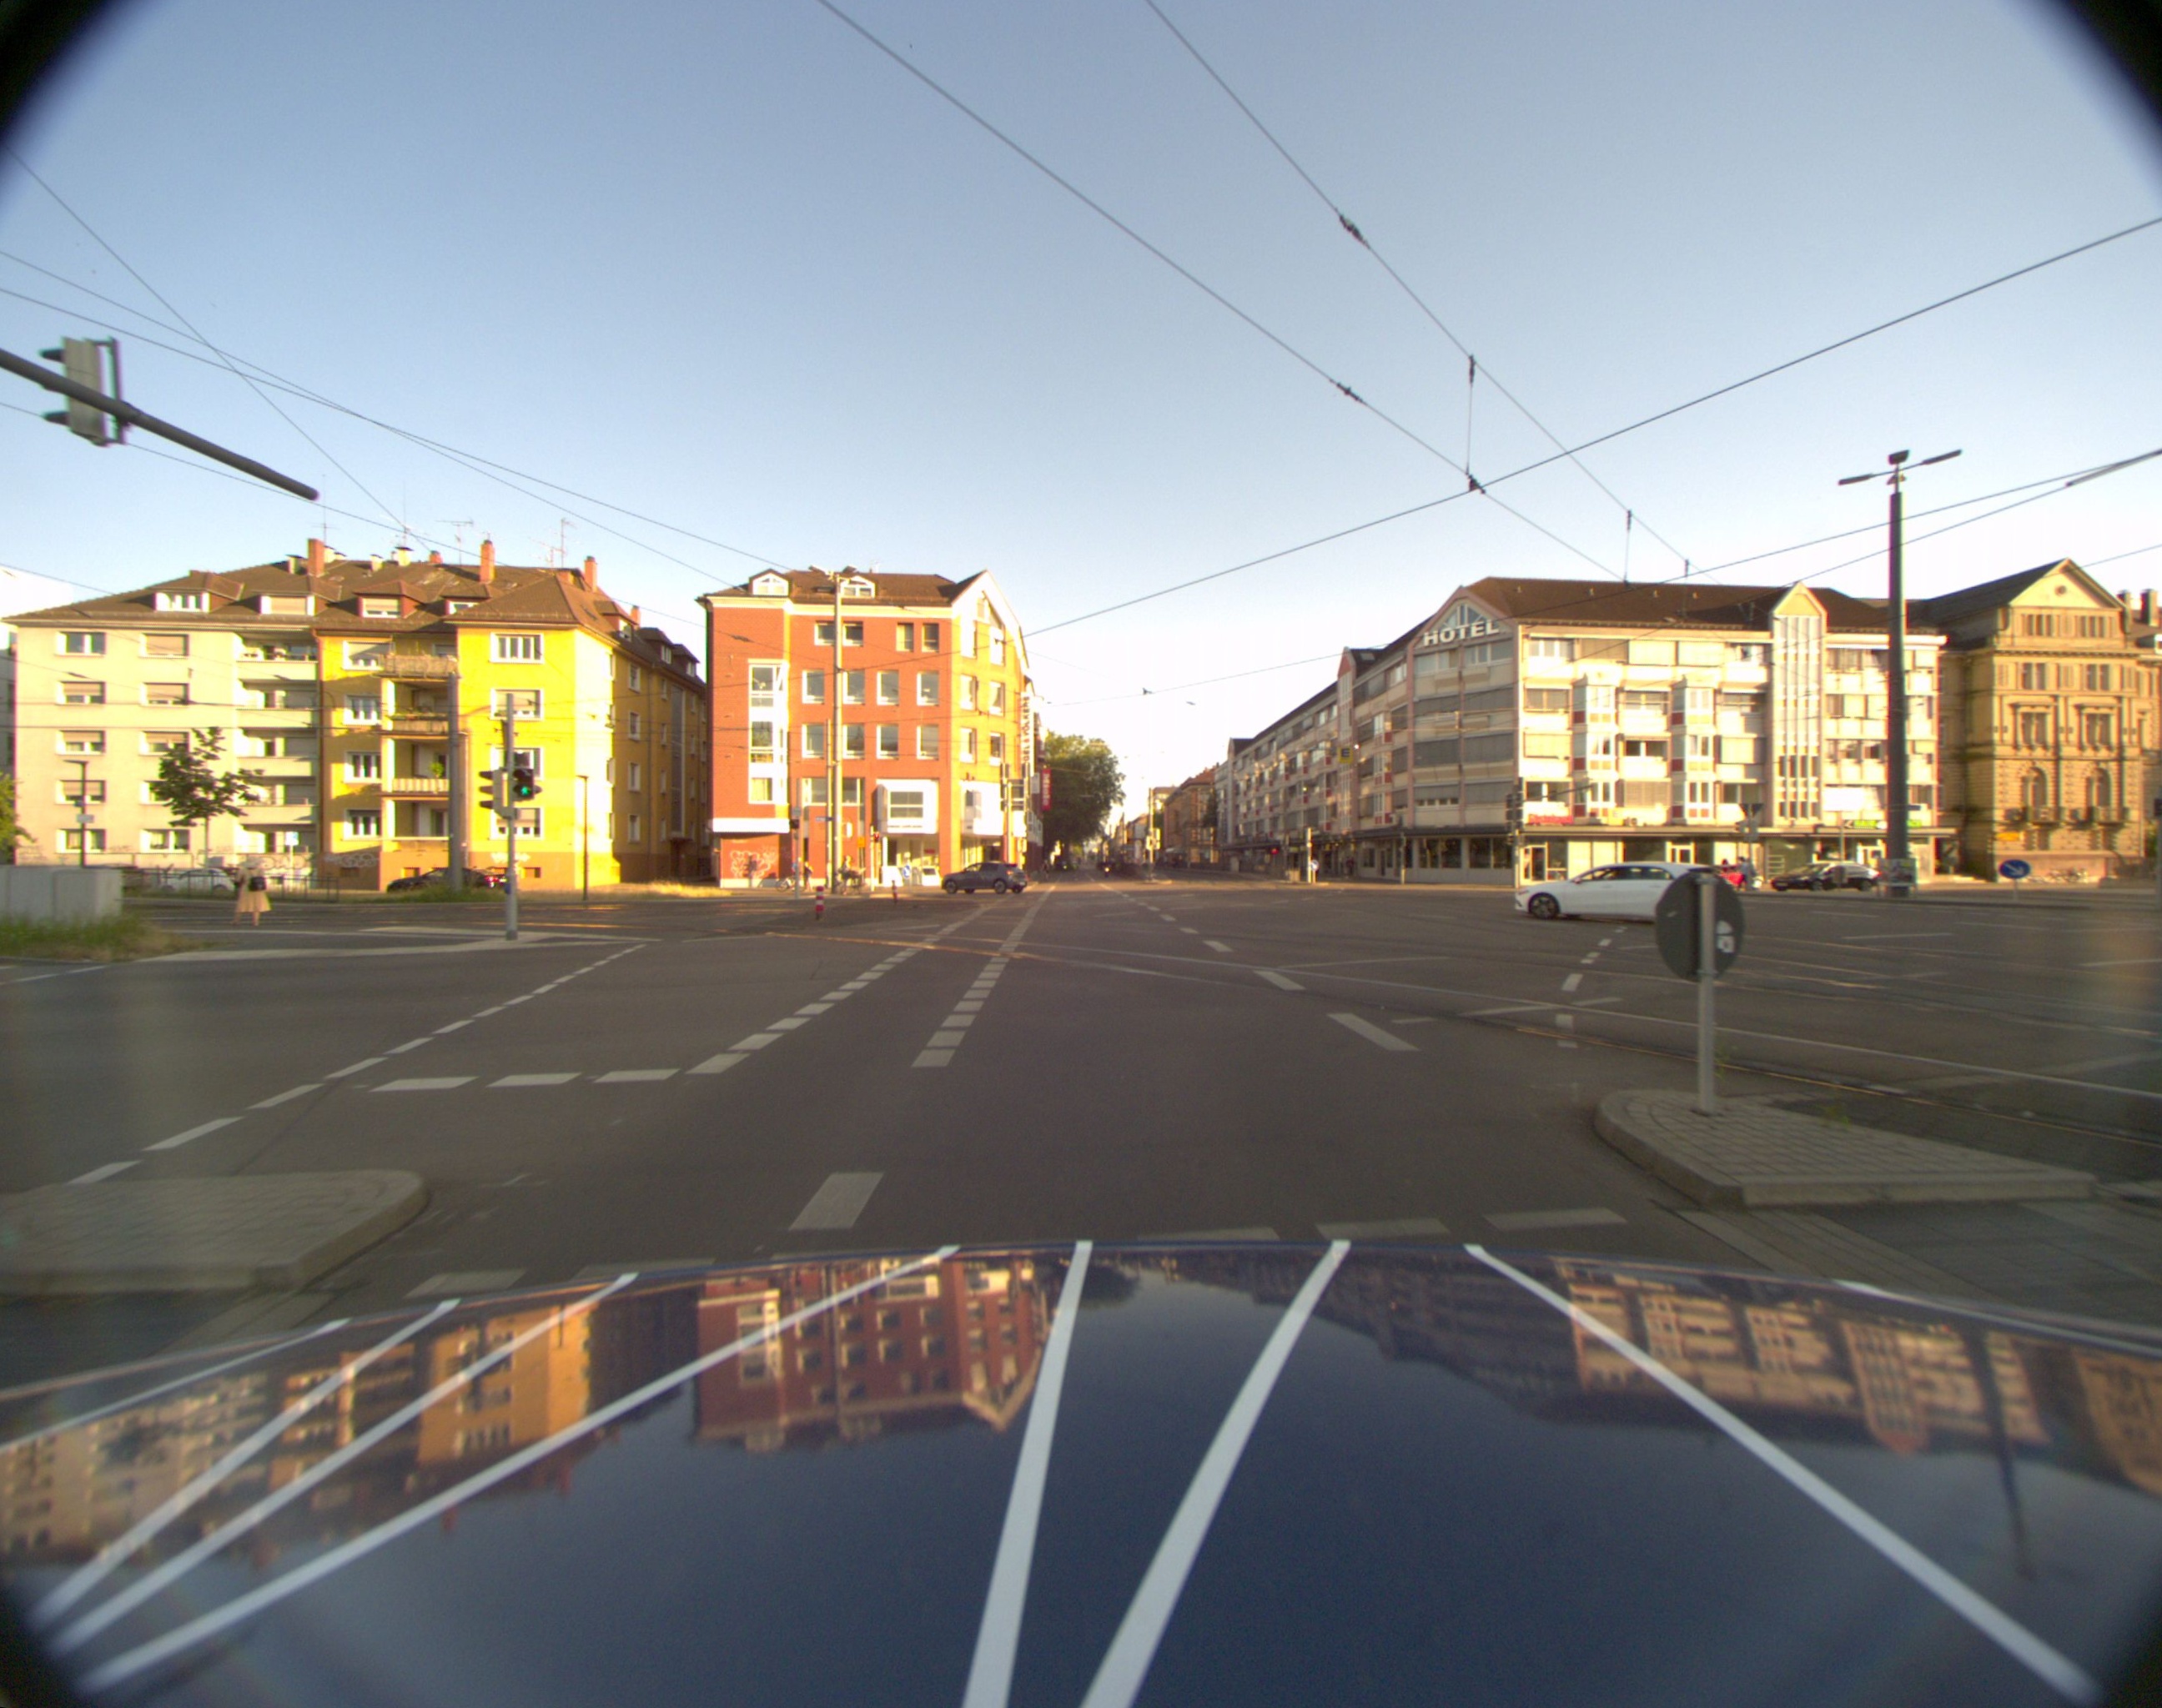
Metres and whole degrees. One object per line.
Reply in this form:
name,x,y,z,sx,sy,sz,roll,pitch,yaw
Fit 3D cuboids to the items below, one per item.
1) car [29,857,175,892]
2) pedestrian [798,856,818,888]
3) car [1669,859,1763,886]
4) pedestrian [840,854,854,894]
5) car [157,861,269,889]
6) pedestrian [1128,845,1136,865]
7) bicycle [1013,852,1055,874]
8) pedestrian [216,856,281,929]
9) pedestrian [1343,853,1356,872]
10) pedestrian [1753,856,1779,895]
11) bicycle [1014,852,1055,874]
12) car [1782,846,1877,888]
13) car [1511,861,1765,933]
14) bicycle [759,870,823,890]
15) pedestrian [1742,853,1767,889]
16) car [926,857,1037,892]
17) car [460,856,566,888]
car,-49.996,1.011,38.893,4.349,1.695,2.118,0,0,-7
pedestrian,-15.015,0.988,41.859,0.873,1.768,0.916,0,1,-10
car,34.434,0.978,41.245,3.896,1.414,1.648,0,0,-7
pedestrian,-10.064,0.860,32.651,0.515,1.698,0.419,0,1,-6
car,-44.842,1.051,39.334,3.543,1.412,1.738,0,0,-7
pedestrian,5.307,0.118,79.017,0.810,2.002,0.677,0,1,-5
bicycle,-3.770,0.714,60.823,3.306,1.716,1.069,0,1,-1
pedestrian,-18.044,0.821,16.488,0.636,1.532,0.708,0,1,13
pedestrian,22.615,0.731,63.963,0.707,1.540,0.906,1,4,-4
pedestrian,29.528,0.912,32.773,0.725,1.639,0.773,0,1,34
bicycle,-3.790,0.738,61.992,3.306,1.716,1.069,0,1,-3
car,36.694,0.584,37.238,4.619,1.548,2.215,-3,9,-33
car,13.100,0.912,18.179,1.820,1.440,4.551,0,0,-35
bicycle,-15.541,1.411,40.814,3.065,1.011,0.930,0,0,-11
pedestrian,29.895,0.745,33.737,0.703,1.573,0.827,0,1,31
car,-4.573,0.915,34.849,4.690,1.495,1.920,0,0,24
car,-28.503,0.910,38.312,1.845,1.486,4.295,-2,-1,6
